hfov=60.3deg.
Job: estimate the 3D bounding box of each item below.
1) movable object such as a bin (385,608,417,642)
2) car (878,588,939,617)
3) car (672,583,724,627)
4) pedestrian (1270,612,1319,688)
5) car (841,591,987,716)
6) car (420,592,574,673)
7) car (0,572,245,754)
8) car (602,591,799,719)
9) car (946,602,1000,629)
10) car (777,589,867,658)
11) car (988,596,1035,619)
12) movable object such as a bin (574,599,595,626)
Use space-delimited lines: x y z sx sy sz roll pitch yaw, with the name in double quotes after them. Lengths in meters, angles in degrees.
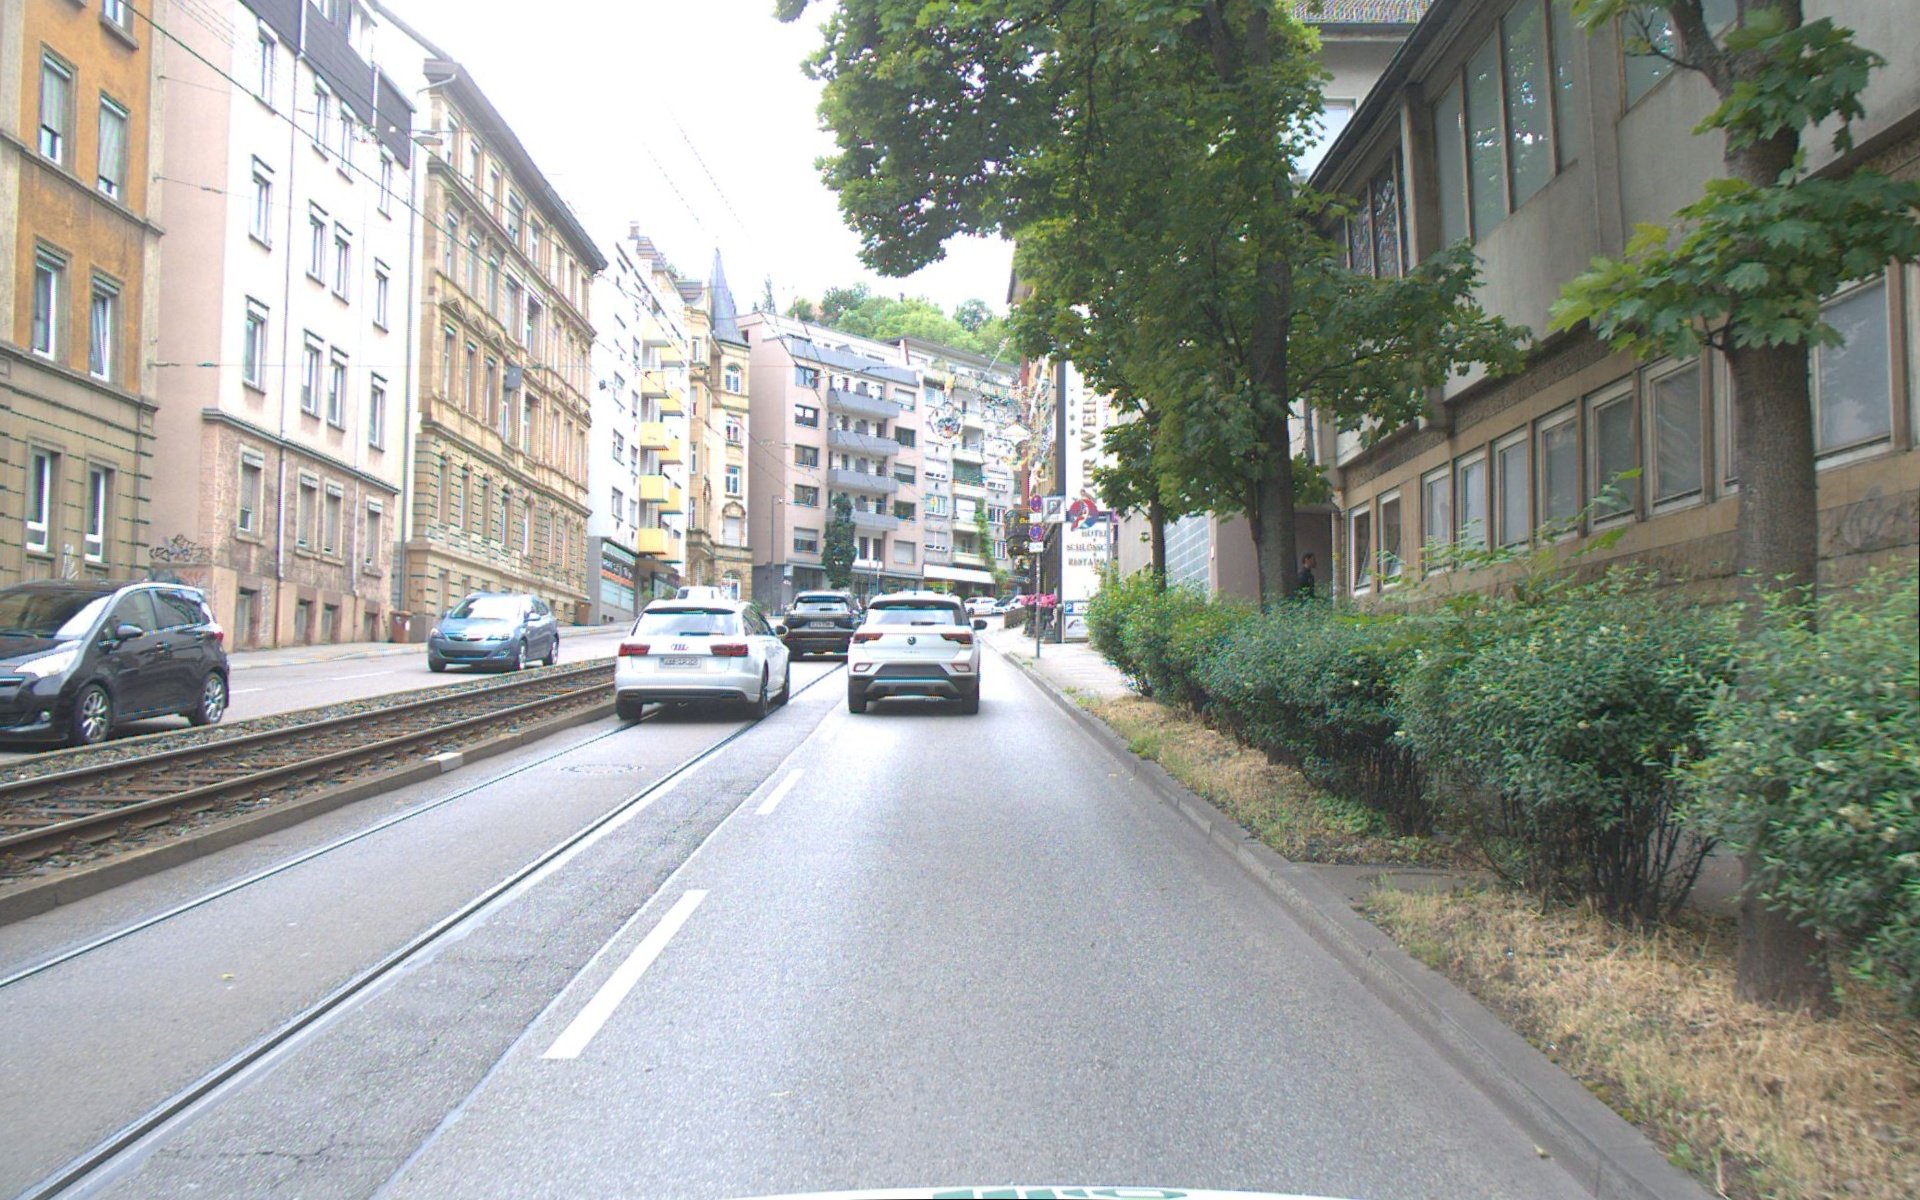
-15.740 0.703 46.553 0.616 0.926 0.676 4 0 -1 "movable object such as a bin"
-3.778 0.204 121.974 1.961 2.071 4.682 0 0 37 "car"
-12.188 0.212 77.227 1.918 1.933 5.314 1 0 -4 "car"
4.418 0.660 21.870 0.514 0.982 0.607 0 0 0 "pedestrian"
-0.571 0.676 23.048 1.840 1.582 4.000 1 0 0 "car"
-9.138 0.597 33.018 1.806 1.480 4.660 1 0 -1 "car"
-8.931 0.554 16.726 1.708 1.624 3.968 1 0 -1 "car"
-3.267 0.664 21.685 1.840 1.480 4.617 0 -1 0 "car"
1.023 1.181 127.413 1.873 1.956 4.415 0 0 38 "car"
-3.352 0.541 40.896 1.997 1.599 4.356 0 0 -2 "car"
3.960 0.590 126.803 1.763 1.758 3.987 0 0 34 "car"
-15.786 0.523 69.495 0.754 1.092 0.561 0 0 -1 "movable object such as a bin"
